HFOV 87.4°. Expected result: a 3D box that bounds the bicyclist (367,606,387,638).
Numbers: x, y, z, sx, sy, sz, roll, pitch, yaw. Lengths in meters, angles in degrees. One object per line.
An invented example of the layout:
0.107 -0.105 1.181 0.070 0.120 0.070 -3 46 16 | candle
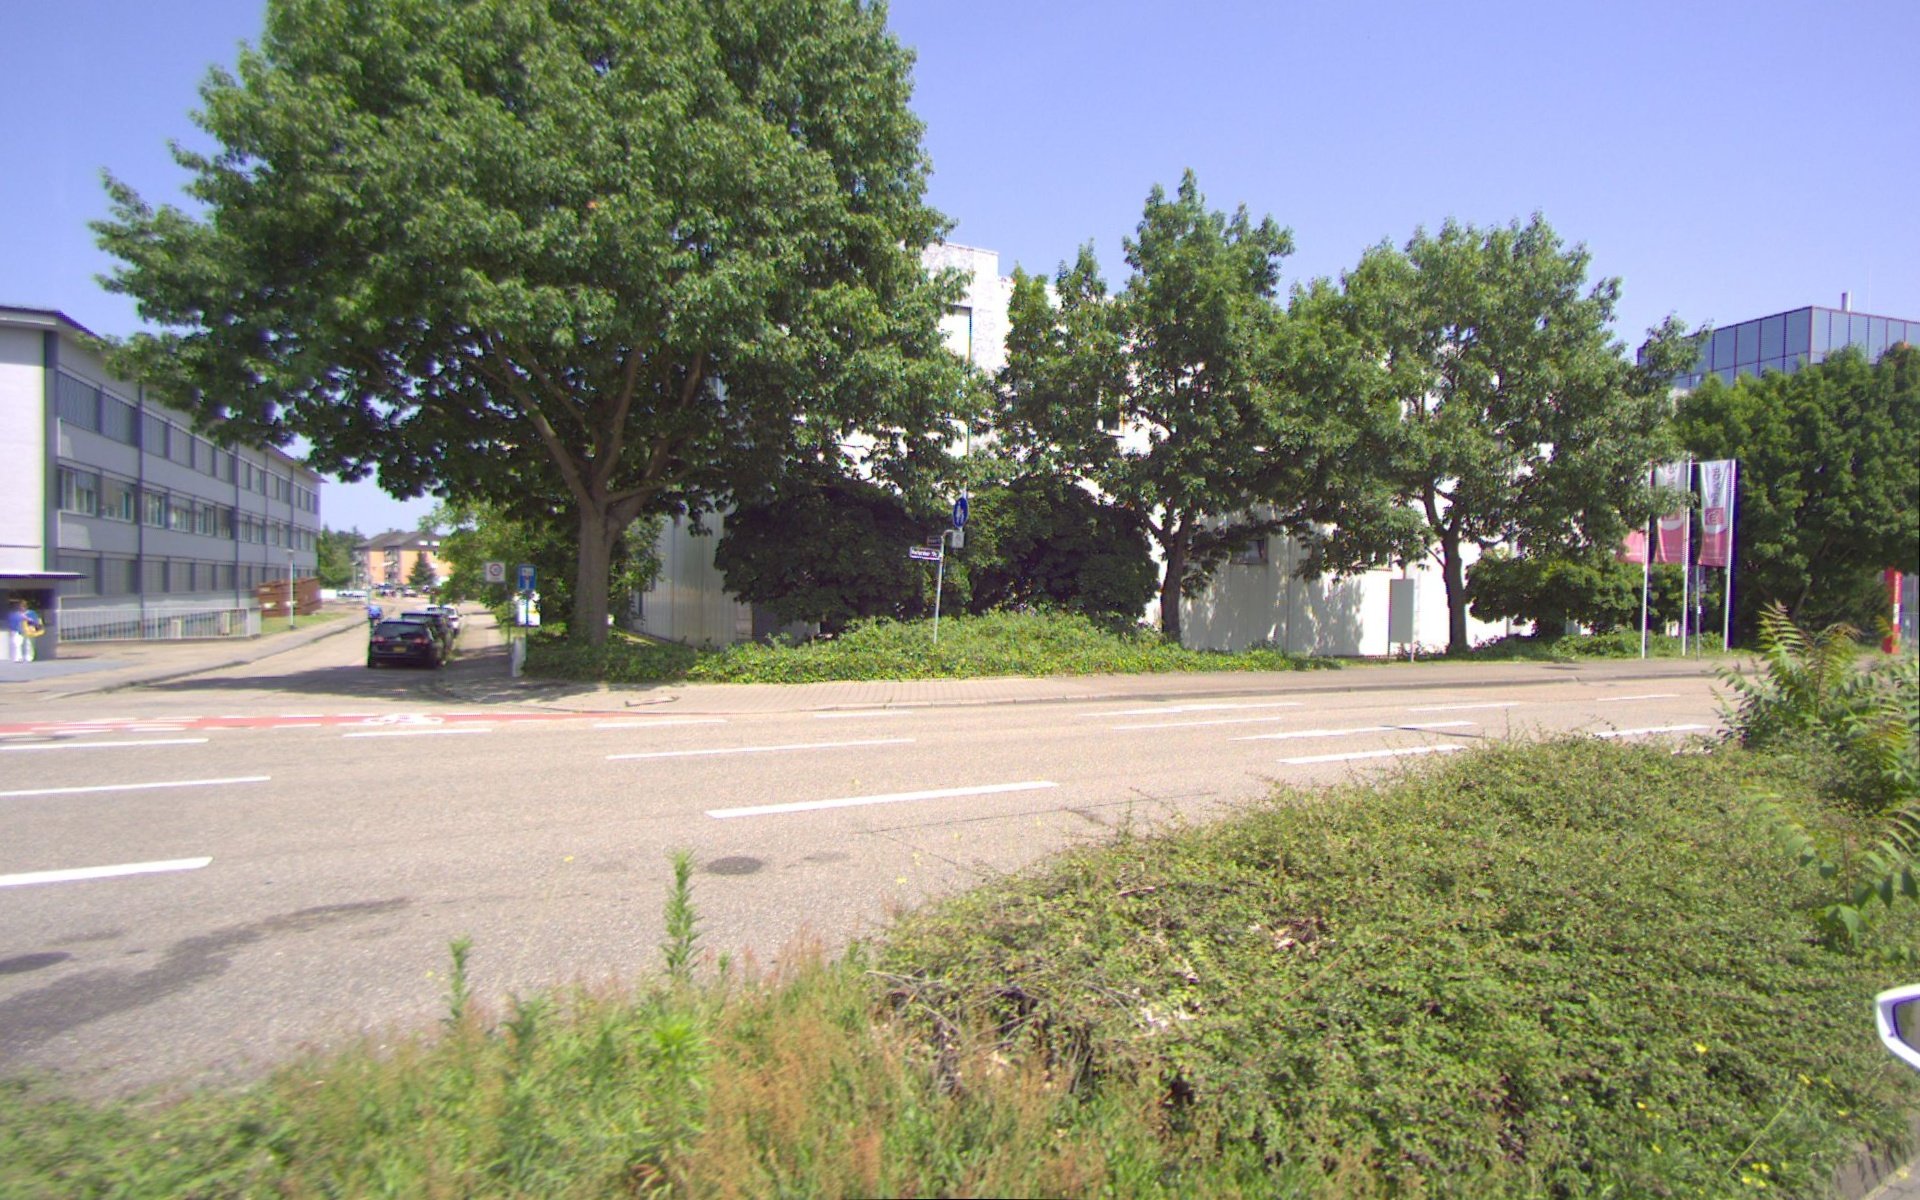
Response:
-26.778 1.004 46.141 0.735 1.428 0.854 1 -1 -27 | bicyclist

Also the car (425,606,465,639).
-26.134 1.152 51.028 1.696 1.595 3.974 1 -1 -26 | car

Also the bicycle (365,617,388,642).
-26.773 1.348 46.107 0.773 1.128 2.167 1 -1 -26 | bicycle

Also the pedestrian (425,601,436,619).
-44.690 0.848 84.823 0.694 1.538 0.648 1 -1 -43 | pedestrian

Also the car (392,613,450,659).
-19.132 1.236 35.699 1.695 1.550 3.971 1 -1 -28 | car

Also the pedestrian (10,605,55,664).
-26.014 0.961 28.178 0.852 1.646 0.677 1 -1 -38 | pedestrian

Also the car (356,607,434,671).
-16.876 1.118 30.157 1.895 1.617 3.971 1 1 -27 | car
